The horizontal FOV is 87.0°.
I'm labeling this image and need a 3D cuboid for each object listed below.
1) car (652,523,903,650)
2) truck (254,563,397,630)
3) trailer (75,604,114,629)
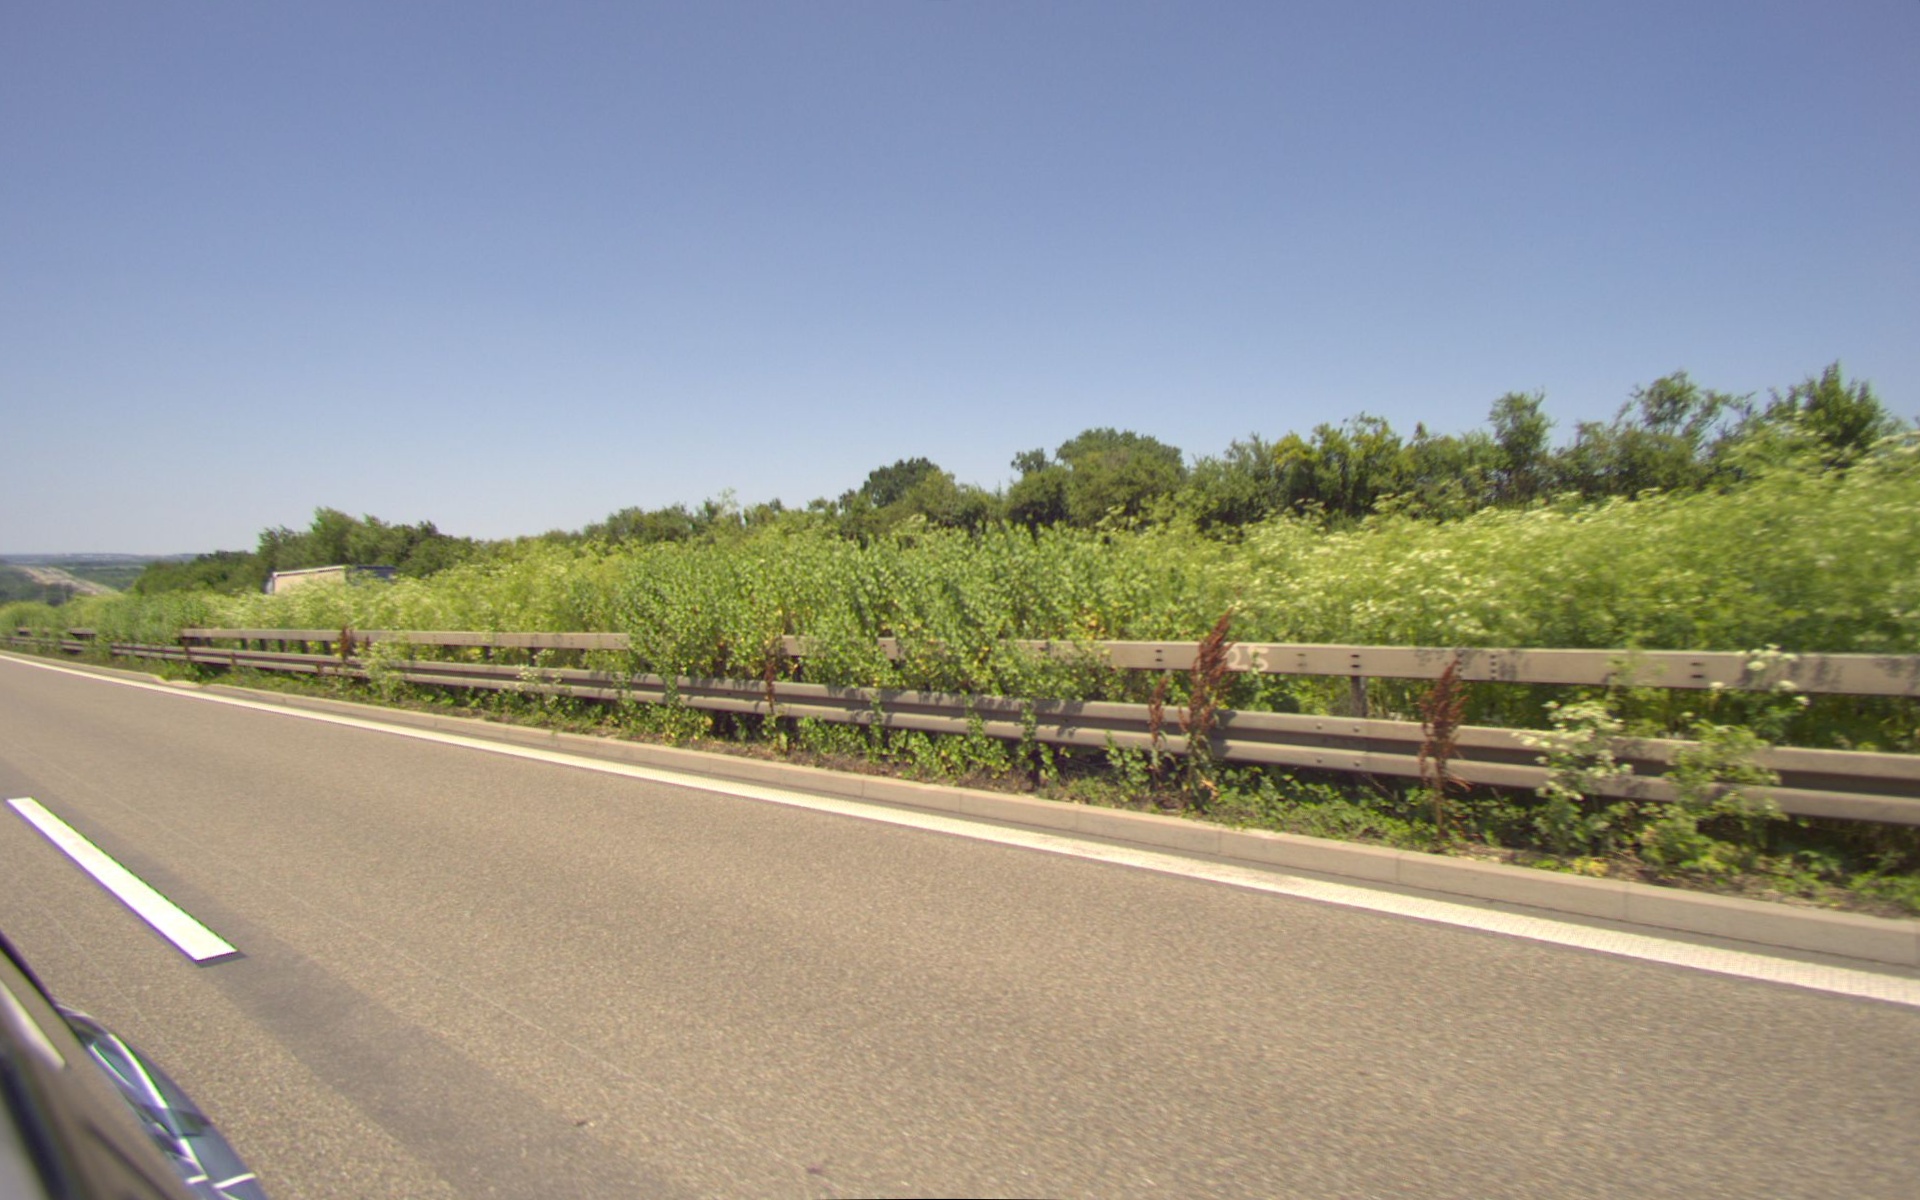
[{"bbox_3d":[-5.832,-0.285,31.043,8.794,3.378,2.763,-1,-1,42],"label":"car"},{"bbox_3d":[-38.382,-0.039,60.688,17.032,3.545,2.646,-1,-1,42],"label":"truck"},{"bbox_3d":[-123.975,2.391,144.884,15.831,3.469,2.569,-1,-1,43],"label":"trailer"}]
